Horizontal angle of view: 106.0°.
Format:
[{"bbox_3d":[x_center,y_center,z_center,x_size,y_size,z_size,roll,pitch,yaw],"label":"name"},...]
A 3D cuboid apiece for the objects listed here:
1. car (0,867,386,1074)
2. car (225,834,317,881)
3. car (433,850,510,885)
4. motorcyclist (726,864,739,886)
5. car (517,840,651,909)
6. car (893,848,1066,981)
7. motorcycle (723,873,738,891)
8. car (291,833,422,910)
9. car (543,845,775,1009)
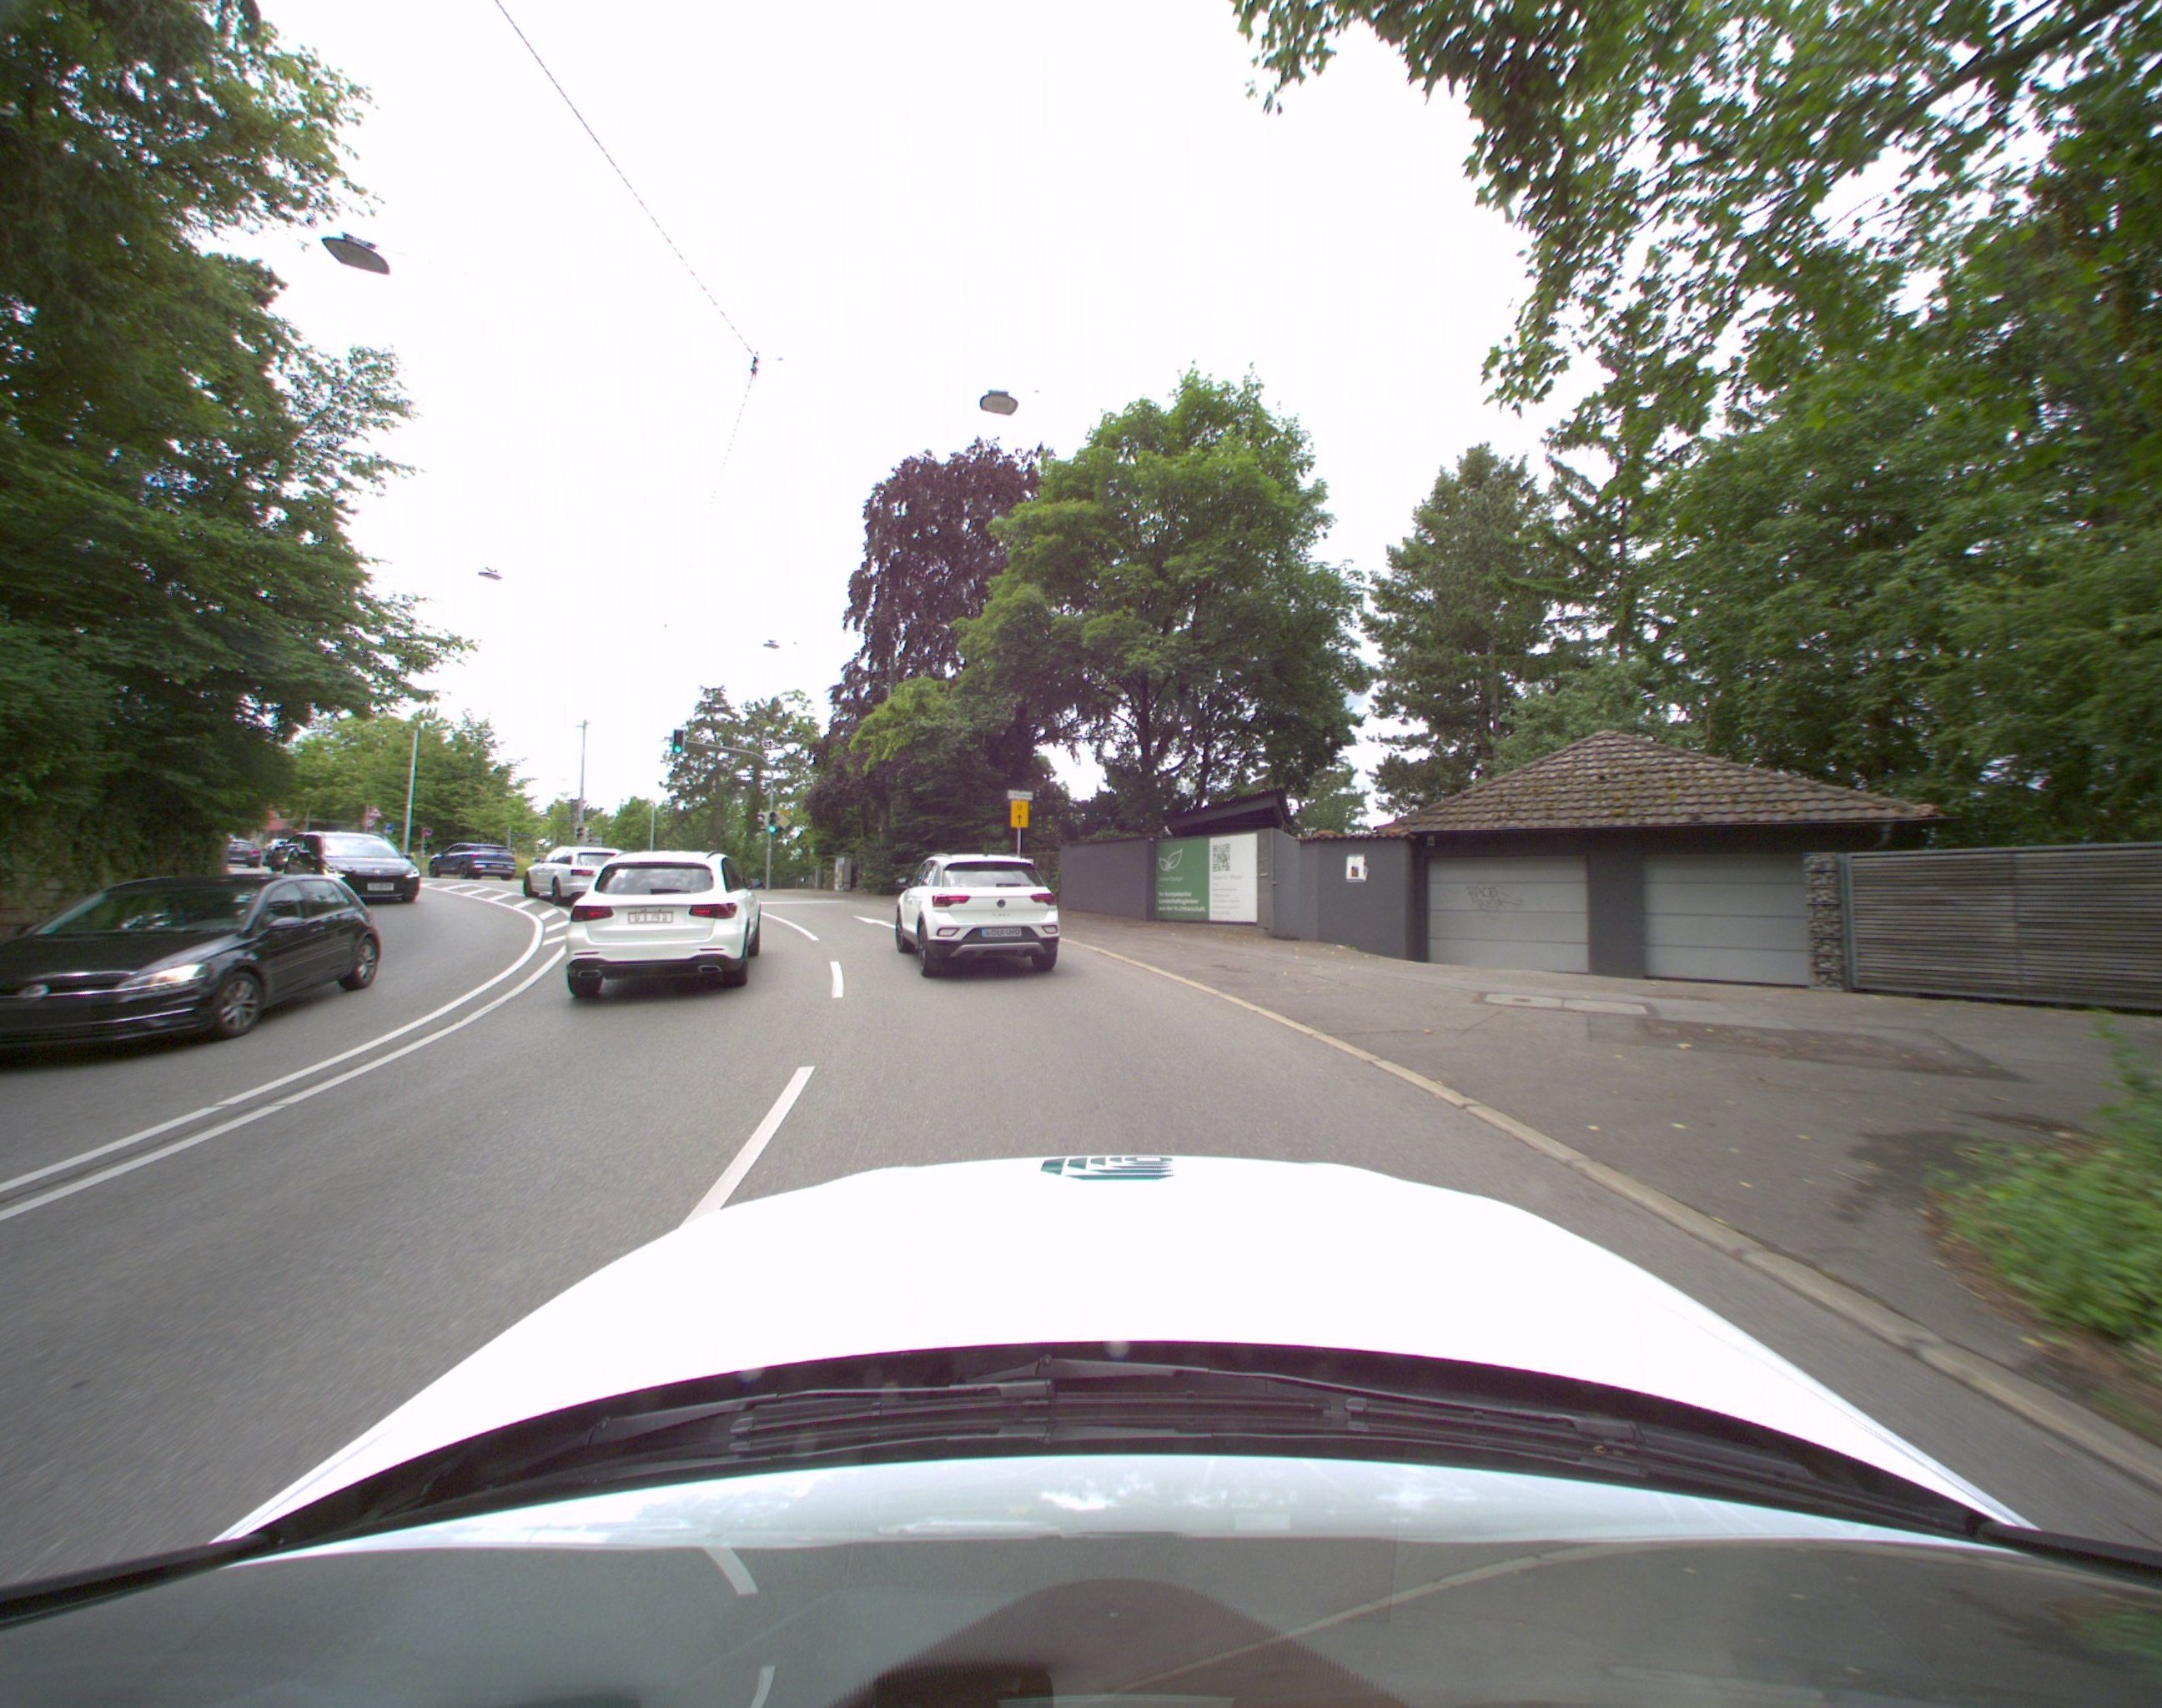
[{"bbox_3d":[-8.935,0.941,8.237,1.810,1.443,3.969,-1,2,-24],"label":"car"},{"bbox_3d":[-32.628,0.126,32.776,3.688,1.637,1.804,2,-3,34],"label":"car"},{"bbox_3d":[-26.377,0.549,35.190,3.805,1.419,1.644,1,0,36],"label":"car"},{"bbox_3d":[-22.780,1.400,53.217,0.600,1.430,0.753,1,-2,-13],"label":"motorcyclist"},{"bbox_3d":[-13.240,0.480,21.579,4.718,1.534,1.882,3,1,44],"label":"car"},{"bbox_3d":[-1.683,0.699,12.016,1.759,1.552,4.312,-1,1,-18],"label":"car"},{"bbox_3d":[-22.825,1.839,53.041,0.599,1.152,1.574,0,-2,-13],"label":"motorcycle"},{"bbox_3d":[-17.787,0.344,19.935,4.011,1.573,1.619,3,3,37],"label":"car"},{"bbox_3d":[-5.303,0.728,10.926,1.863,1.605,4.645,-2,2,-17],"label":"car"}]
